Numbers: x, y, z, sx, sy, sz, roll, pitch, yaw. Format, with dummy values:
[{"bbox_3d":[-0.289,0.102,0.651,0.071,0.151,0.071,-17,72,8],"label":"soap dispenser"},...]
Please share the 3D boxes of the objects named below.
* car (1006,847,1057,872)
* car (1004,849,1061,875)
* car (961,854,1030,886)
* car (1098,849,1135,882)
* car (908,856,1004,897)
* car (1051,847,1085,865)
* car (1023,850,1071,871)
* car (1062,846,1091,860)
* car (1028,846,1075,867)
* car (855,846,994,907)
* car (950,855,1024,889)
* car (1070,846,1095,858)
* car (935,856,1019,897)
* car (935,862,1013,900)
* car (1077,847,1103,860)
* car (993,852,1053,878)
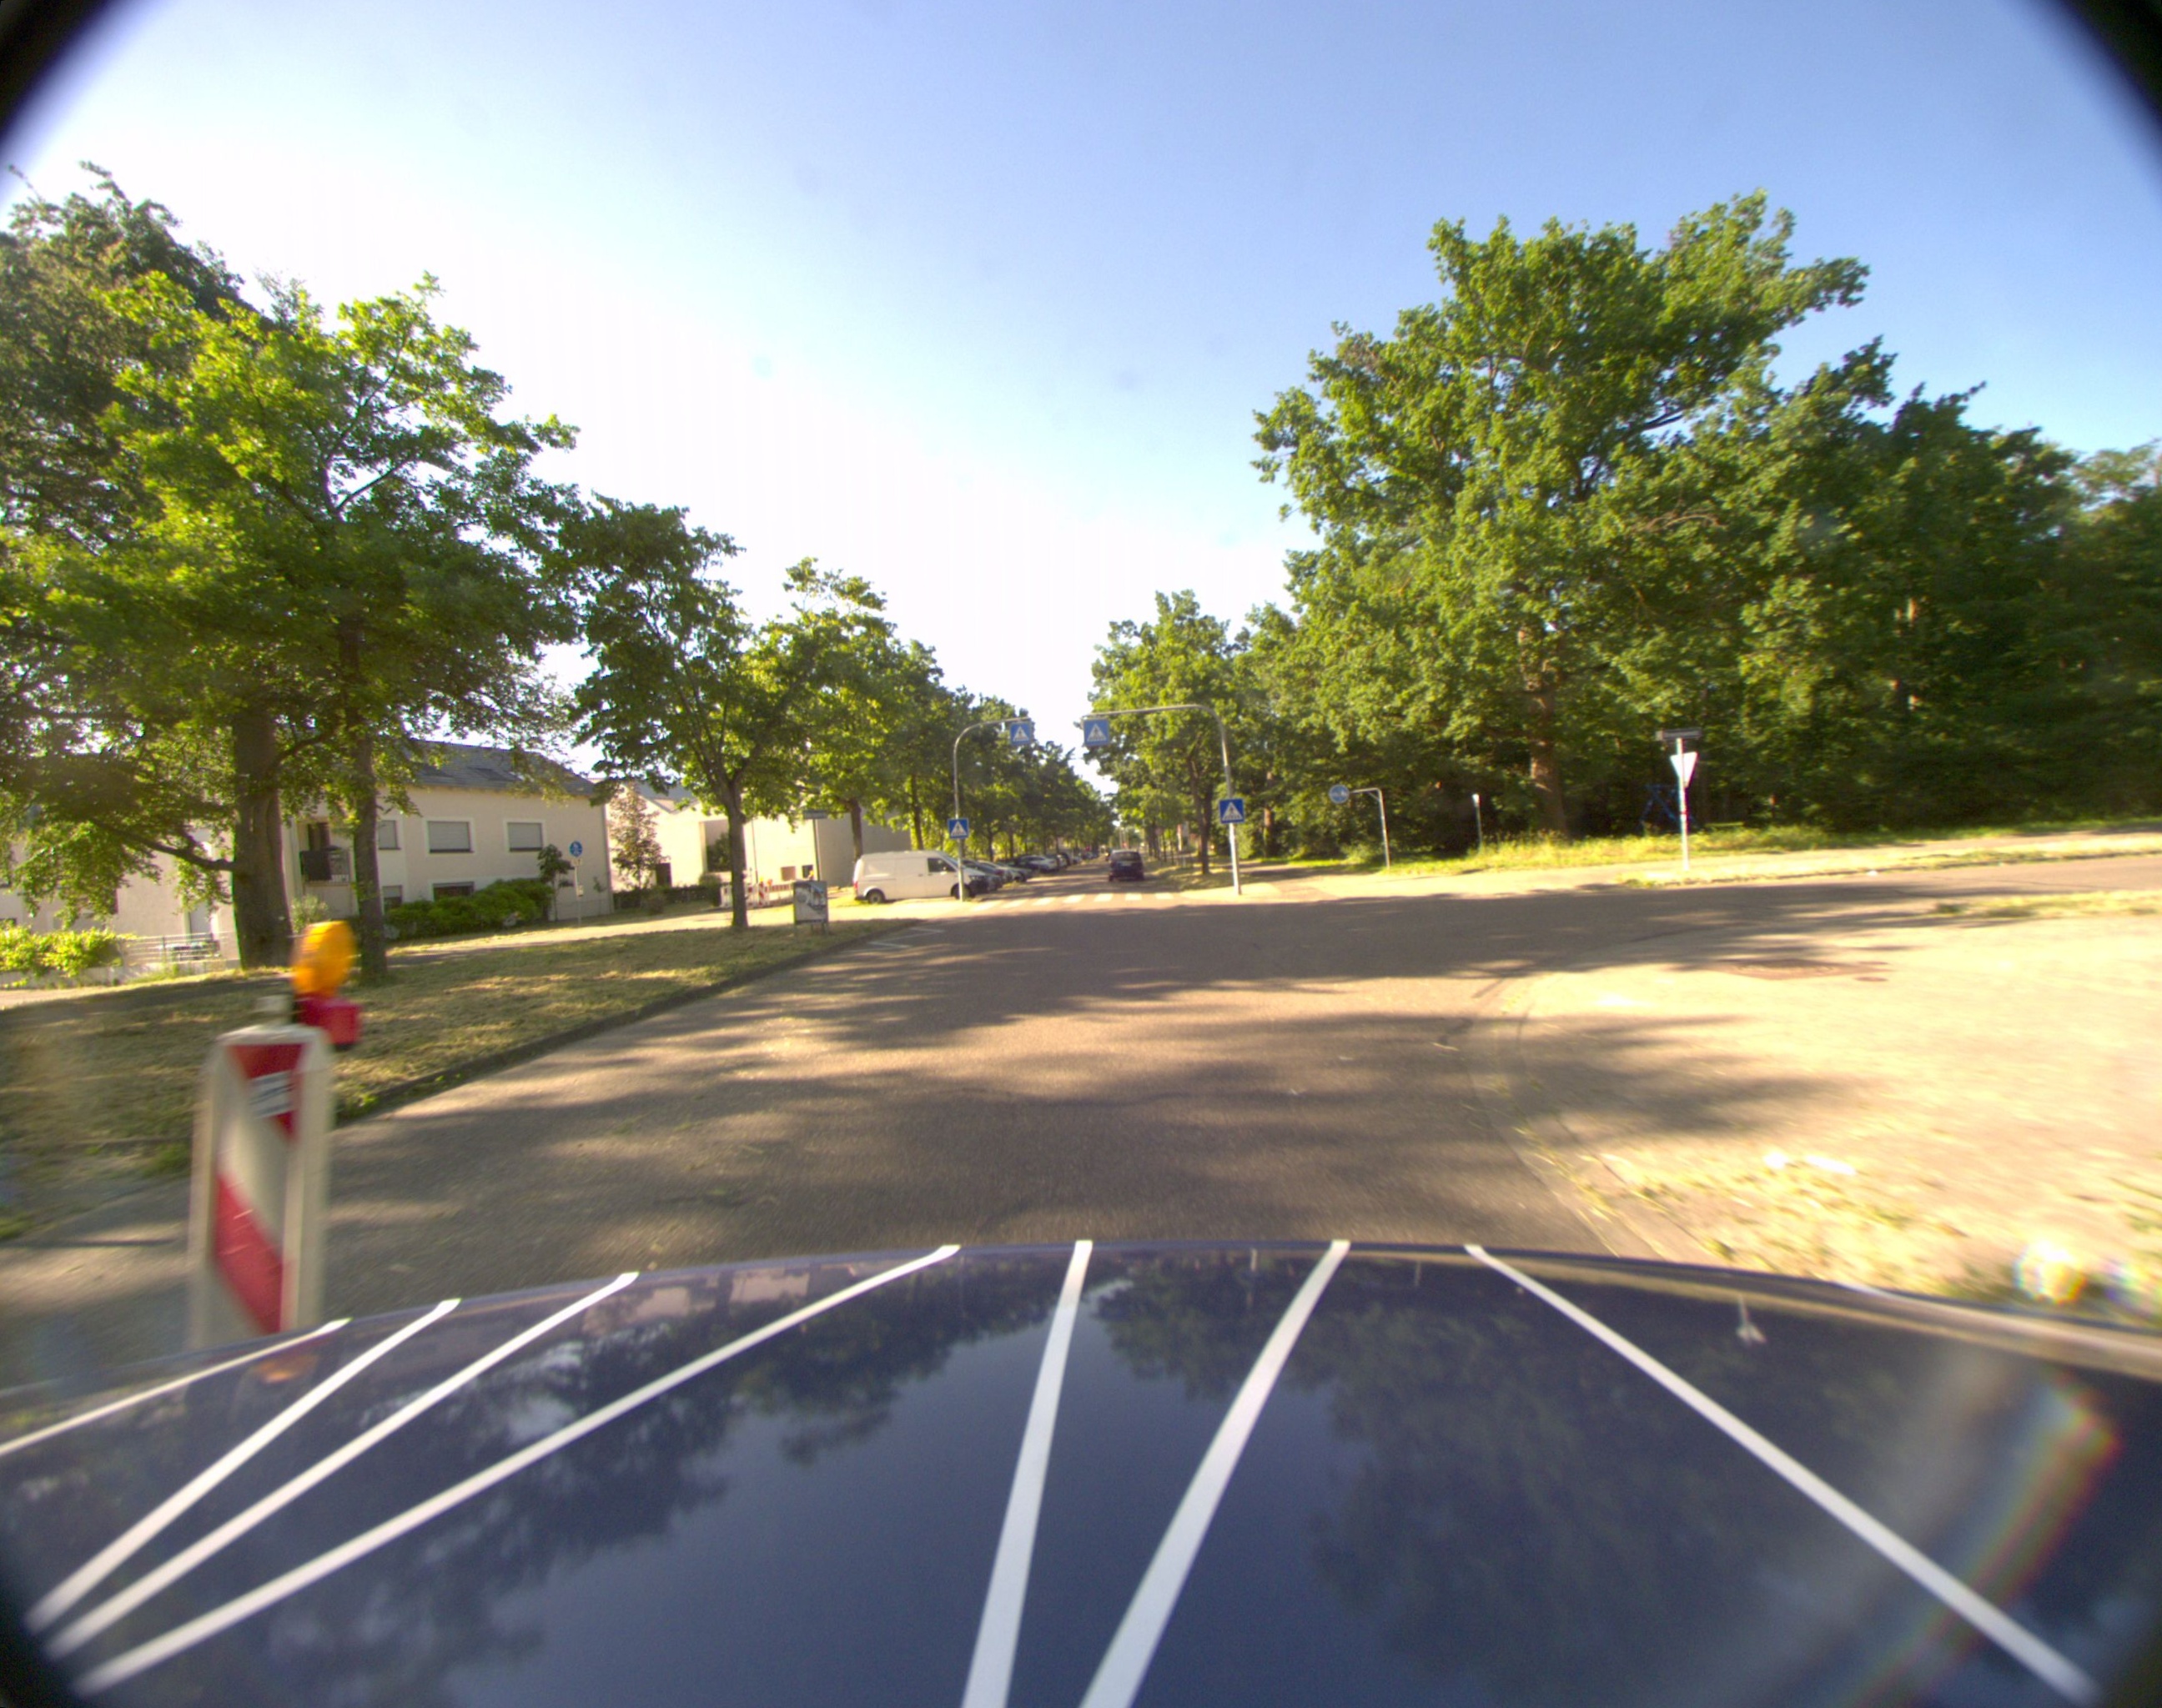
[{"bbox_3d":[-4.588,0.529,70.839,4.394,1.977,1.533,-5,1,5],"label":"car"},{"bbox_3d":[-4.021,0.676,63.367,4.394,1.733,1.533,-5,1,5],"label":"car"},{"bbox_3d":[-5.426,0.982,48.298,4.018,1.650,1.533,-5,1,5],"label":"car"},{"bbox_3d":[1.938,0.561,41.302,1.826,1.616,4.493,-3,0,2],"label":"car"},{"bbox_3d":[-5.858,1.027,35.811,3.995,1.554,1.758,-5,1,6],"label":"car"},{"bbox_3d":[-1.653,0.244,97.218,3.996,1.838,1.864,-5,1,4],"label":"car"},{"bbox_3d":[-3.334,0.629,74.617,4.394,1.733,1.533,-5,1,5],"label":"car"},{"bbox_3d":[-0.718,-0.226,118.154,4.150,1.838,1.949,-5,1,4],"label":"car"},{"bbox_3d":[-2.990,0.269,76.965,4.394,1.733,1.533,-5,1,5],"label":"car"},{"bbox_3d":[-6.211,0.870,30.503,5.044,2.069,1.891,-4,1,3],"label":"car"},{"bbox_3d":[-5.557,1.045,45.291,4.018,1.669,1.533,-5,1,5],"label":"car"},{"bbox_3d":[0.337,-0.388,134.463,4.150,1.838,1.949,-5,1,4],"label":"car"},{"bbox_3d":[-5.548,1.199,40.689,4.018,1.783,1.713,-5,1,6],"label":"car"},{"bbox_3d":[-5.345,1.353,38.121,3.515,1.533,1.448,-5,1,6],"label":"car"},{"bbox_3d":[1.465,-0.118,129.328,4.150,1.838,1.949,-5,1,4],"label":"car"},{"bbox_3d":[-4.571,0.879,60.367,4.394,1.632,1.533,-5,1,5],"label":"car"}]
